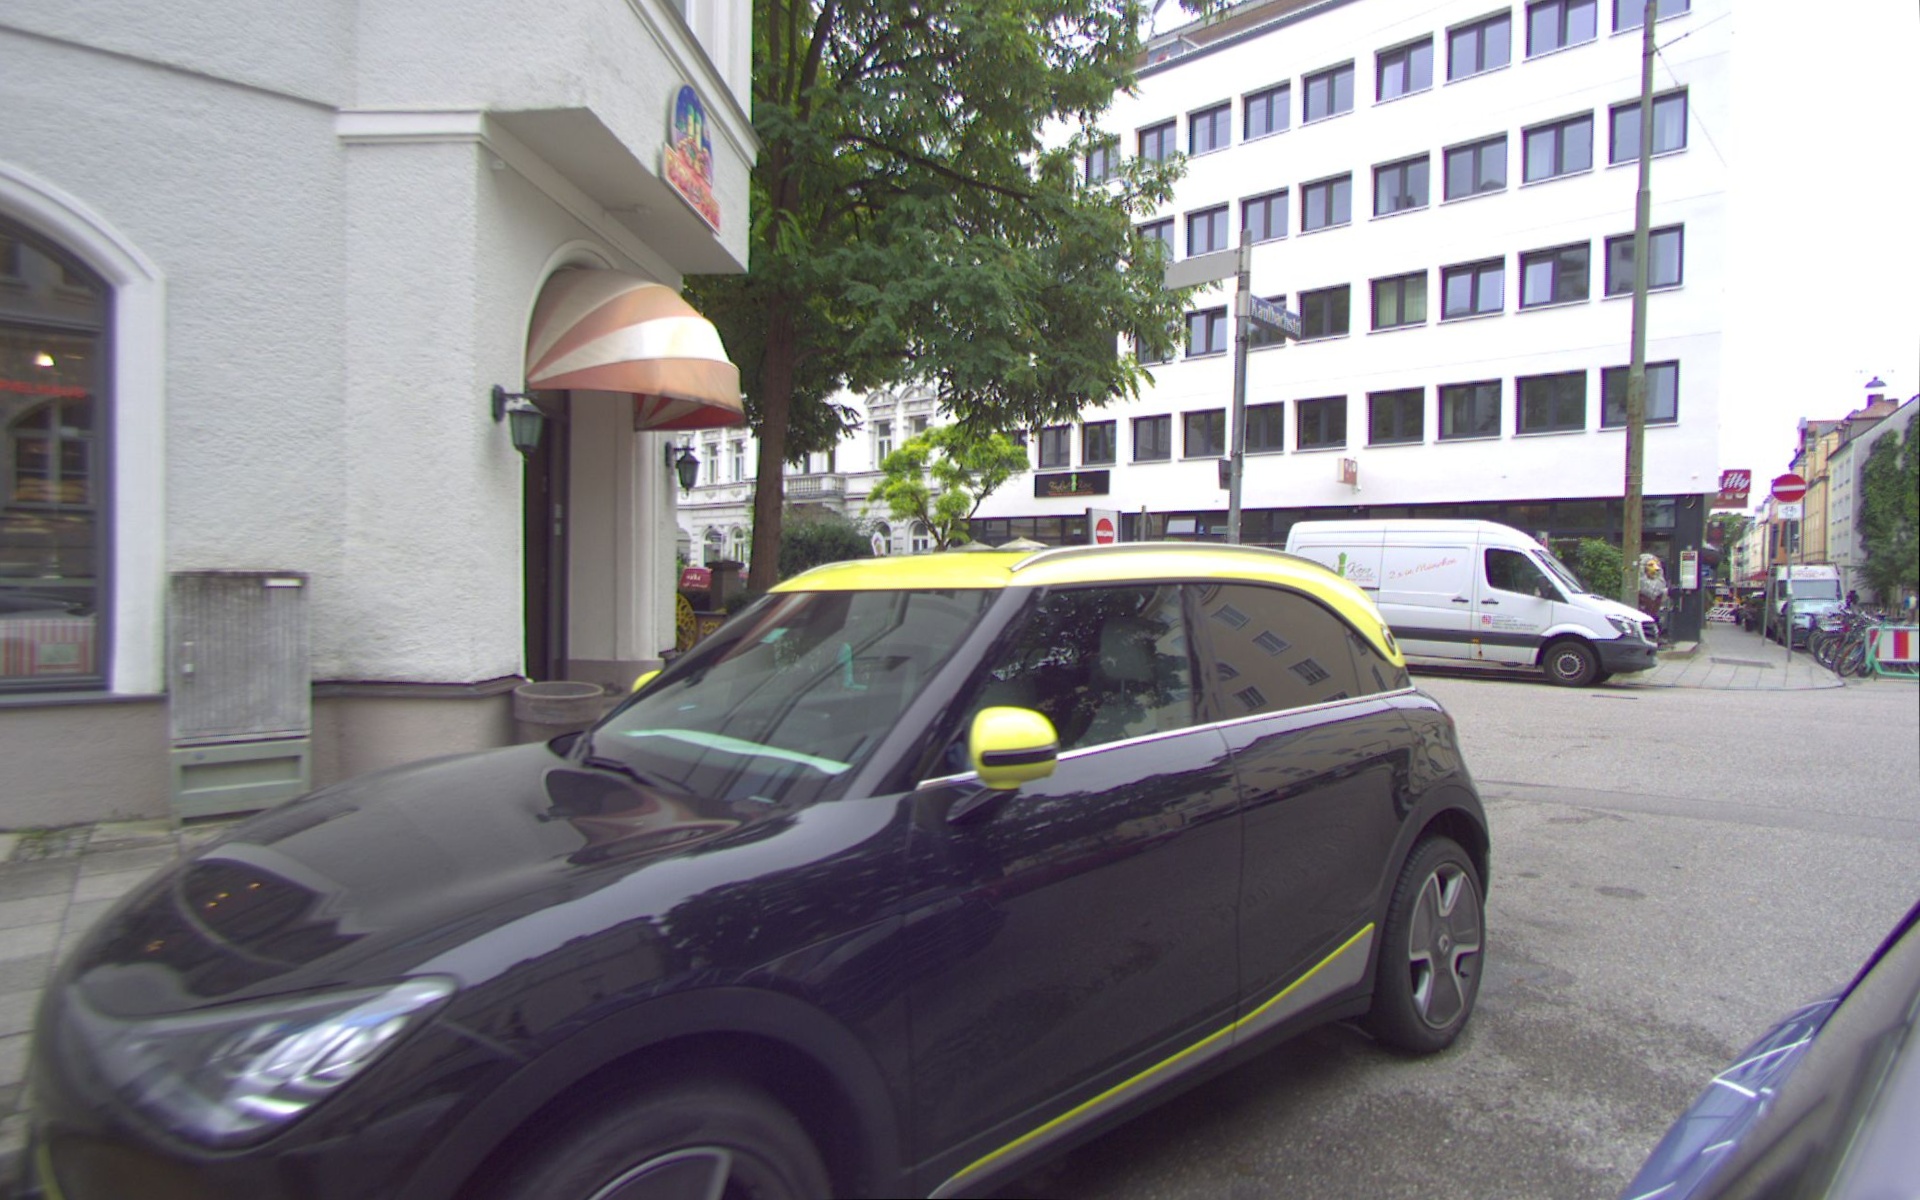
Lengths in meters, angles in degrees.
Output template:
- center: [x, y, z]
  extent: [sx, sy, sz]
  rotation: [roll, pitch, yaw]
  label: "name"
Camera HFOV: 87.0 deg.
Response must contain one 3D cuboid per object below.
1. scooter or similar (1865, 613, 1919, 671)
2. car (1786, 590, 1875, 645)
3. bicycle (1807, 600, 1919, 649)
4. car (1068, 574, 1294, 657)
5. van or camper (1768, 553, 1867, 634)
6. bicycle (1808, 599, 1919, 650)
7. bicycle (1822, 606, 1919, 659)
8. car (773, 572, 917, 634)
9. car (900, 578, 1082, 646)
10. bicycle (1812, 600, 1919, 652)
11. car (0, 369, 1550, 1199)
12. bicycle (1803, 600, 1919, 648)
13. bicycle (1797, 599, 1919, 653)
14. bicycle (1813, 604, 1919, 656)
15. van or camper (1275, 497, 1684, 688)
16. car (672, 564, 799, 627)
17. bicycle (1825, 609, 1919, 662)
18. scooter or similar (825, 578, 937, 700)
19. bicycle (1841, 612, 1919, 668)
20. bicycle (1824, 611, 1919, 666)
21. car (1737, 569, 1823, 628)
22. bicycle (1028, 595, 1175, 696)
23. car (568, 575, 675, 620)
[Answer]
- center: [16.923, 0.745, 17.927]
  extent: [1.277, 0.988, 0.492]
  rotation: [2, 1, 39]
  label: "scooter or similar"
- center: [24.734, 0.441, 28.863]
  extent: [1.751, 1.412, 3.944]
  rotation: [2, 1, 39]
  label: "car"
- center: [23.019, 0.601, 25.755]
  extent: [2.194, 1.160, 0.686]
  rotation: [2, 1, 39]
  label: "bicycle"
- center: [4.486, 0.295, 20.824]
  extent: [4.124, 1.505, 1.866]
  rotation: [2, -2, 39]
  label: "car"
- center: [29.202, -0.250, 34.634]
  extent: [1.954, 2.540, 5.653]
  rotation: [1, 1, 34]
  label: "van or camper"
- center: [22.165, 0.577, 24.721]
  extent: [2.170, 1.160, 0.665]
  rotation: [2, 1, 39]
  label: "bicycle"
- center: [19.720, 0.679, 21.483]
  extent: [2.095, 1.045, 0.961]
  rotation: [2, 1, 39]
  label: "bicycle"
- center: [-3.216, 0.054, 27.779]
  extent: [3.987, 1.557, 1.740]
  rotation: [2, -1, 44]
  label: "car"
- center: [0.676, 0.262, 24.075]
  extent: [4.155, 1.408, 1.767]
  rotation: [2, -2, 43]
  label: "car"
- center: [21.676, 0.599, 24.140]
  extent: [2.026, 1.160, 0.659]
  rotation: [2, 1, 39]
  label: "bicycle"
- center: [-0.052, 0.586, 3.030]
  extent: [4.021, 1.639, 1.840]
  rotation: [0, -1, -40]
  label: "car"
- center: [23.404, 0.601, 26.359]
  extent: [2.196, 1.160, 0.630]
  rotation: [2, 1, 39]
  label: "bicycle"
- center: [21.025, 0.591, 23.650]
  extent: [2.197, 1.160, 0.730]
  rotation: [2, 1, 39]
  label: "bicycle"
- center: [20.355, 0.655, 22.449]
  extent: [2.142, 1.045, 0.961]
  rotation: [2, 1, 39]
  label: "bicycle"
- center: [8.711, -0.143, 17.411]
  extent: [5.850, 2.748, 2.268]
  rotation: [2, -1, 43]
  label: "van or camper"
- center: [-6.980, -0.162, 31.366]
  extent: [3.771, 1.806, 1.753]
  rotation: [2, -2, 36]
  label: "car"
- center: [19.071, 0.721, 20.609]
  extent: [2.164, 0.976, 0.961]
  rotation: [2, 1, 39]
  label: "bicycle"
- center: [-0.857, 0.411, 10.905]
  extent: [1.156, 1.286, 0.401]
  rotation: [1, 1, -10]
  label: "scooter or similar"
- center: [17.633, 0.742, 18.696]
  extent: [1.984, 0.976, 0.960]
  rotation: [2, 1, 39]
  label: "bicycle"
- center: [18.317, 0.745, 19.750]
  extent: [2.167, 0.988, 0.961]
  rotation: [2, 1, 39]
  label: "bicycle"
- center: [31.856, -0.091, 39.435]
  extent: [1.984, 2.160, 3.957]
  rotation: [1, 1, 30]
  label: "car"
- center: [1.760, 0.535, 12.935]
  extent: [0.673, 1.144, 2.012]
  rotation: [0, 1, -35]
  label: "bicycle"
- center: [-11.878, -0.114, 35.438]
  extent: [3.982, 1.427, 1.710]
  rotation: [1, -2, 40]
  label: "car"
